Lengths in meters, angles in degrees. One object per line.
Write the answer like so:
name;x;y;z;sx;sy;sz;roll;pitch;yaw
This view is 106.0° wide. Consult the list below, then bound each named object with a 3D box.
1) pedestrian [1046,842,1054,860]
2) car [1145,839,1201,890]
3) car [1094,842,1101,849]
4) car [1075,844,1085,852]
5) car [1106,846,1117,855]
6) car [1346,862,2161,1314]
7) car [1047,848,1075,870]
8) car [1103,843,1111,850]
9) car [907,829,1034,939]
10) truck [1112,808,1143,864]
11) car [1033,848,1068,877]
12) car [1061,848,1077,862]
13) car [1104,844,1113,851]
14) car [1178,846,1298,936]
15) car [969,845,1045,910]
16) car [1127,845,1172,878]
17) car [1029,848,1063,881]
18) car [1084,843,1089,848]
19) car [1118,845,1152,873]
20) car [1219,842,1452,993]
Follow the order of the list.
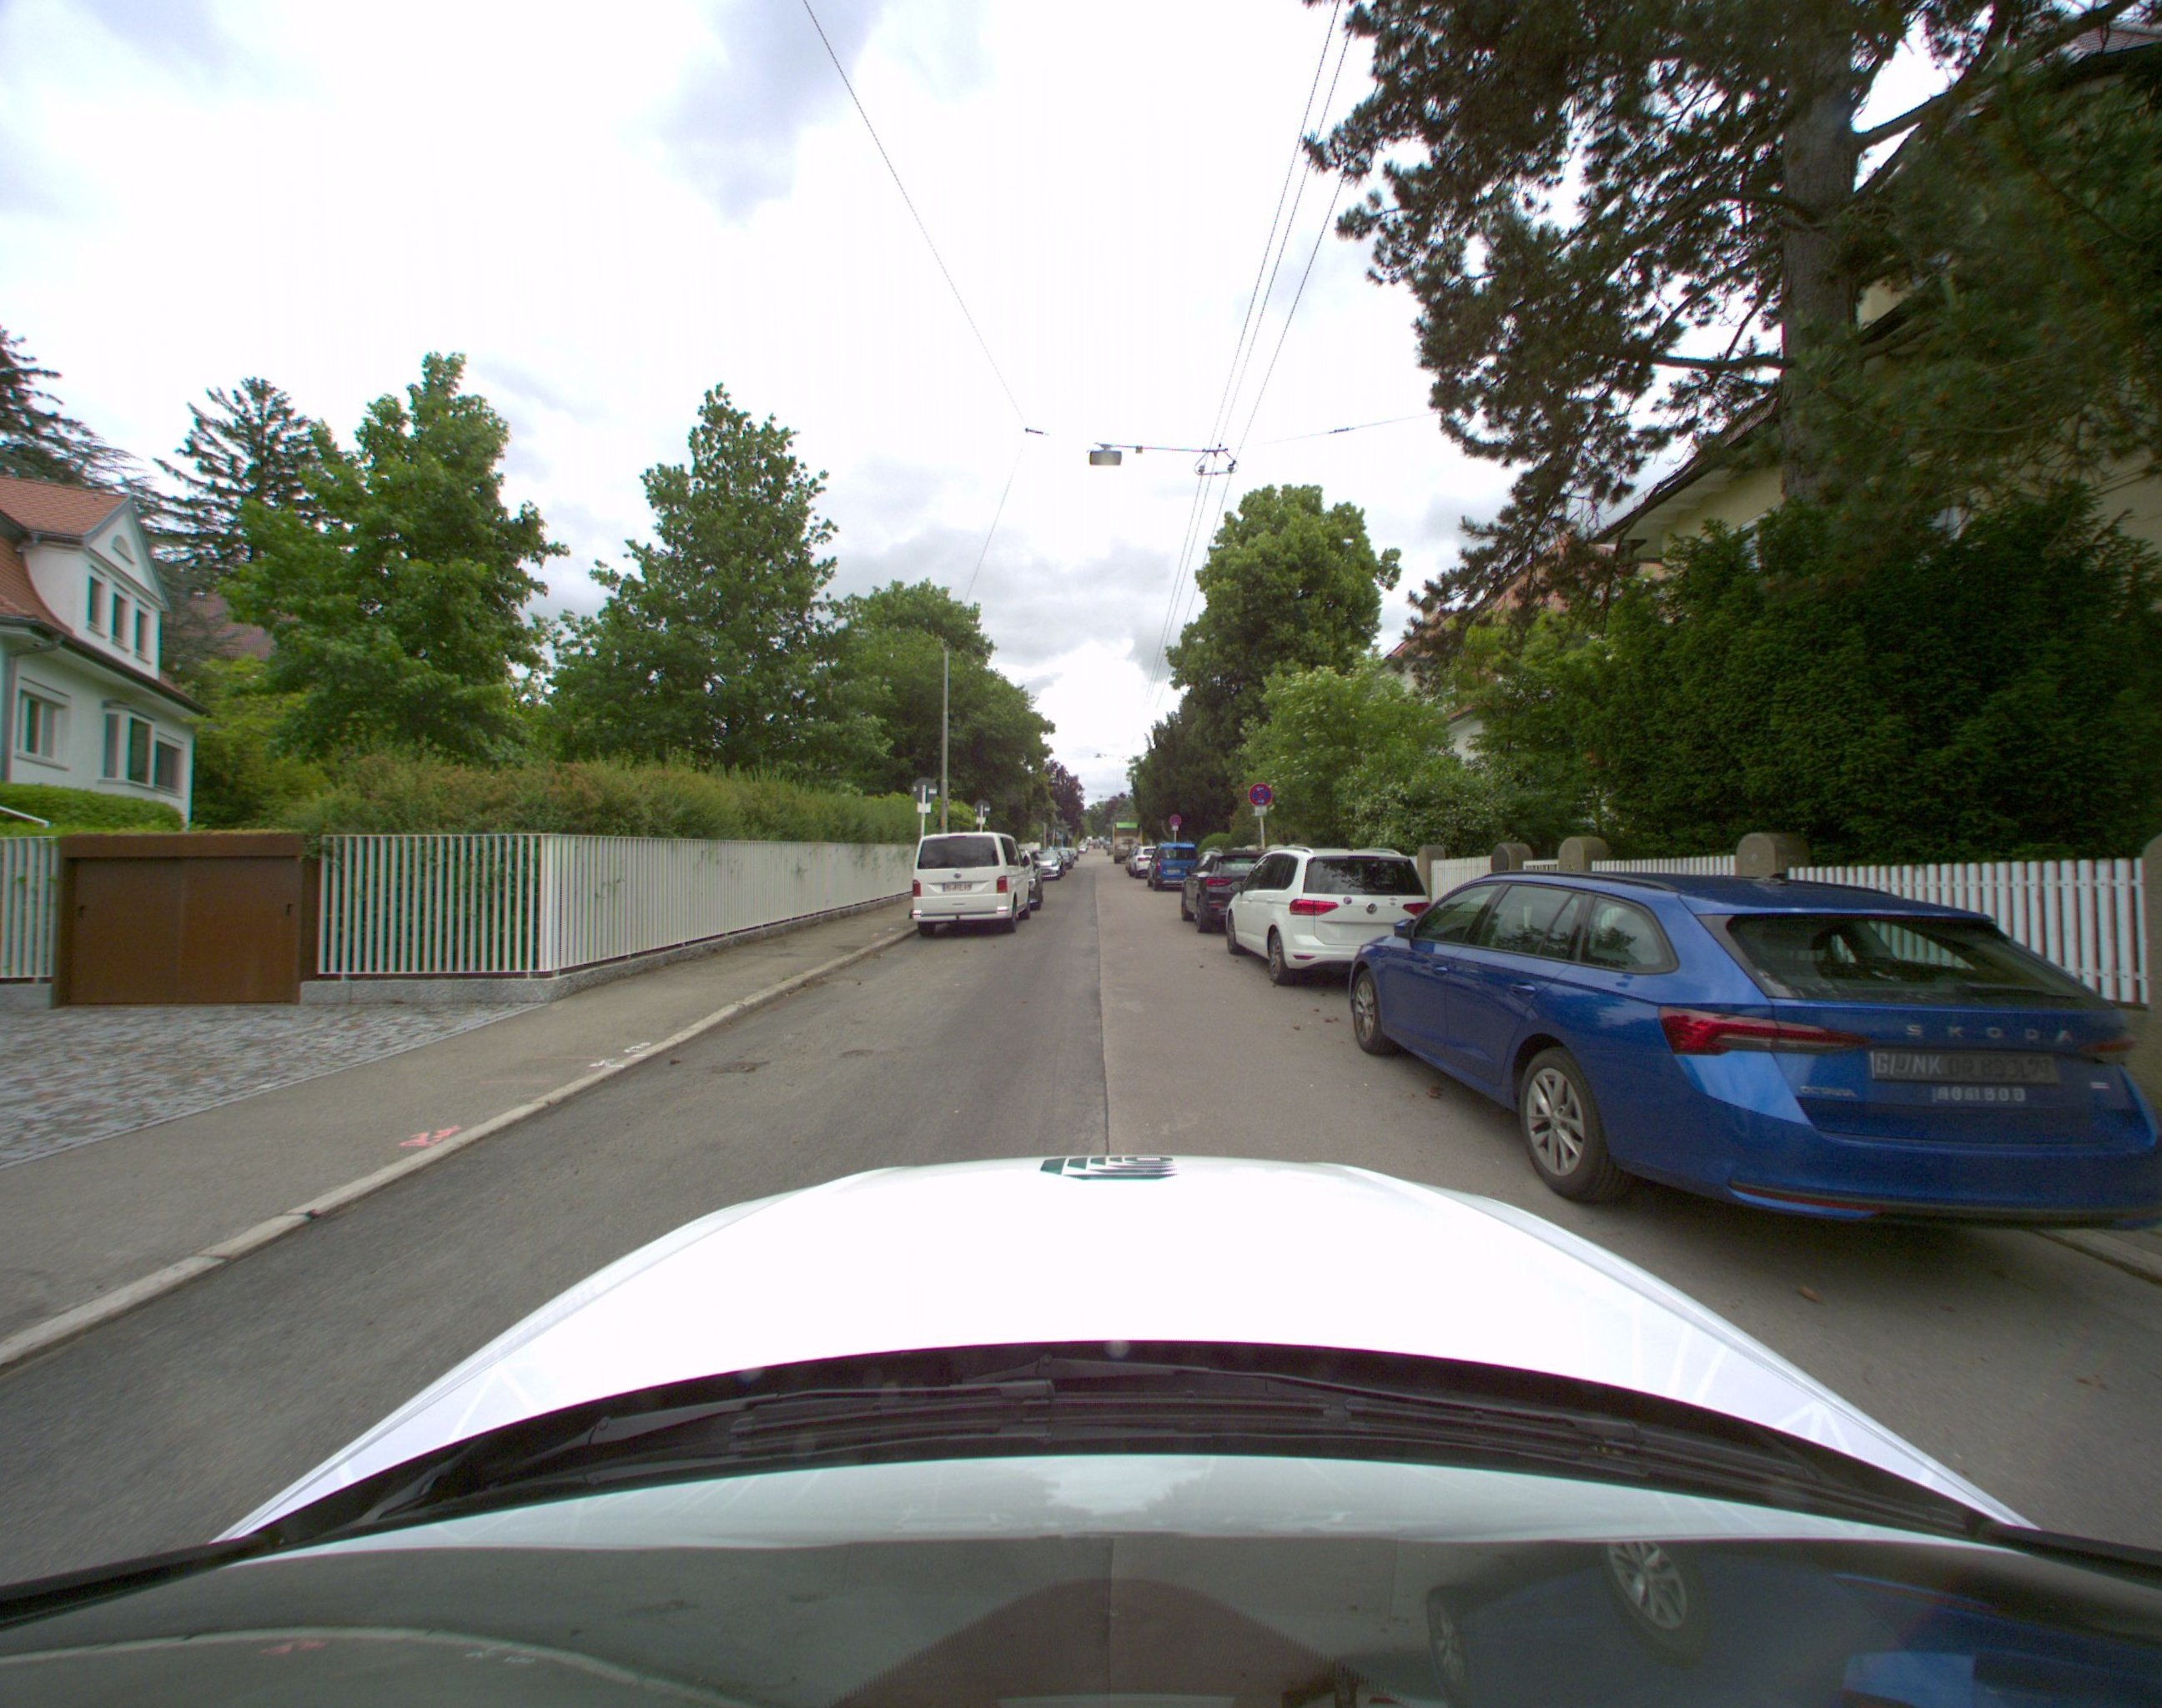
pedestrian;-3.478;-0.394;92.616;0.850;2.013;0.700;1;0;-4
car;3.477;0.348;31.404;1.677;1.829;4.157;1;1;0
car;4.005;-2.146;198.119;1.628;1.701;3.494;0;1;0
car;-0.101;-1.240;162.441;1.704;1.586;4.004;0;0;4
car;5.355;-0.625;142.565;1.773;1.489;3.999;0;0;0
car;2.978;0.790;4.716;1.641;1.458;4.052;1;0;1
car;-1.445;0.331;59.504;1.634;1.422;4.553;-3;0;3
car;6.191;-1.813;195.160;1.782;1.529;3.736;0;1;2
car;-2.136;0.552;17.114;1.848;1.913;4.620;-3;0;1
truck;4.101;-1.589;72.827;2.515;4.748;7.190;1;0;2
car;-1.674;0.460;46.265;1.649;1.481;3.889;-3;1;1
car;-1.249;0.068;86.430;1.632;1.395;3.988;-3;1;0
car;6.228;-1.521;186.238;1.804;1.335;3.632;1;2;0
car;3.106;0.681;16.909;1.744;1.608;4.076;1;0;1
car;-1.992;0.578;23.007;1.786;1.623;4.341;-2;0;-1
car;3.482;0.371;42.306;1.753;1.606;4.571;1;0;-3
car;-1.763;0.521;41.589;1.618;1.533;2.960;-3;1;-2
car;1.720;-2.663;250.912;1.621;1.386;3.598;1;0;0
car;3.198;0.269;48.856;1.693;1.570;4.307;-1;0;-1
car;3.137;0.682;11.031;1.779;1.603;4.303;1;0;0
